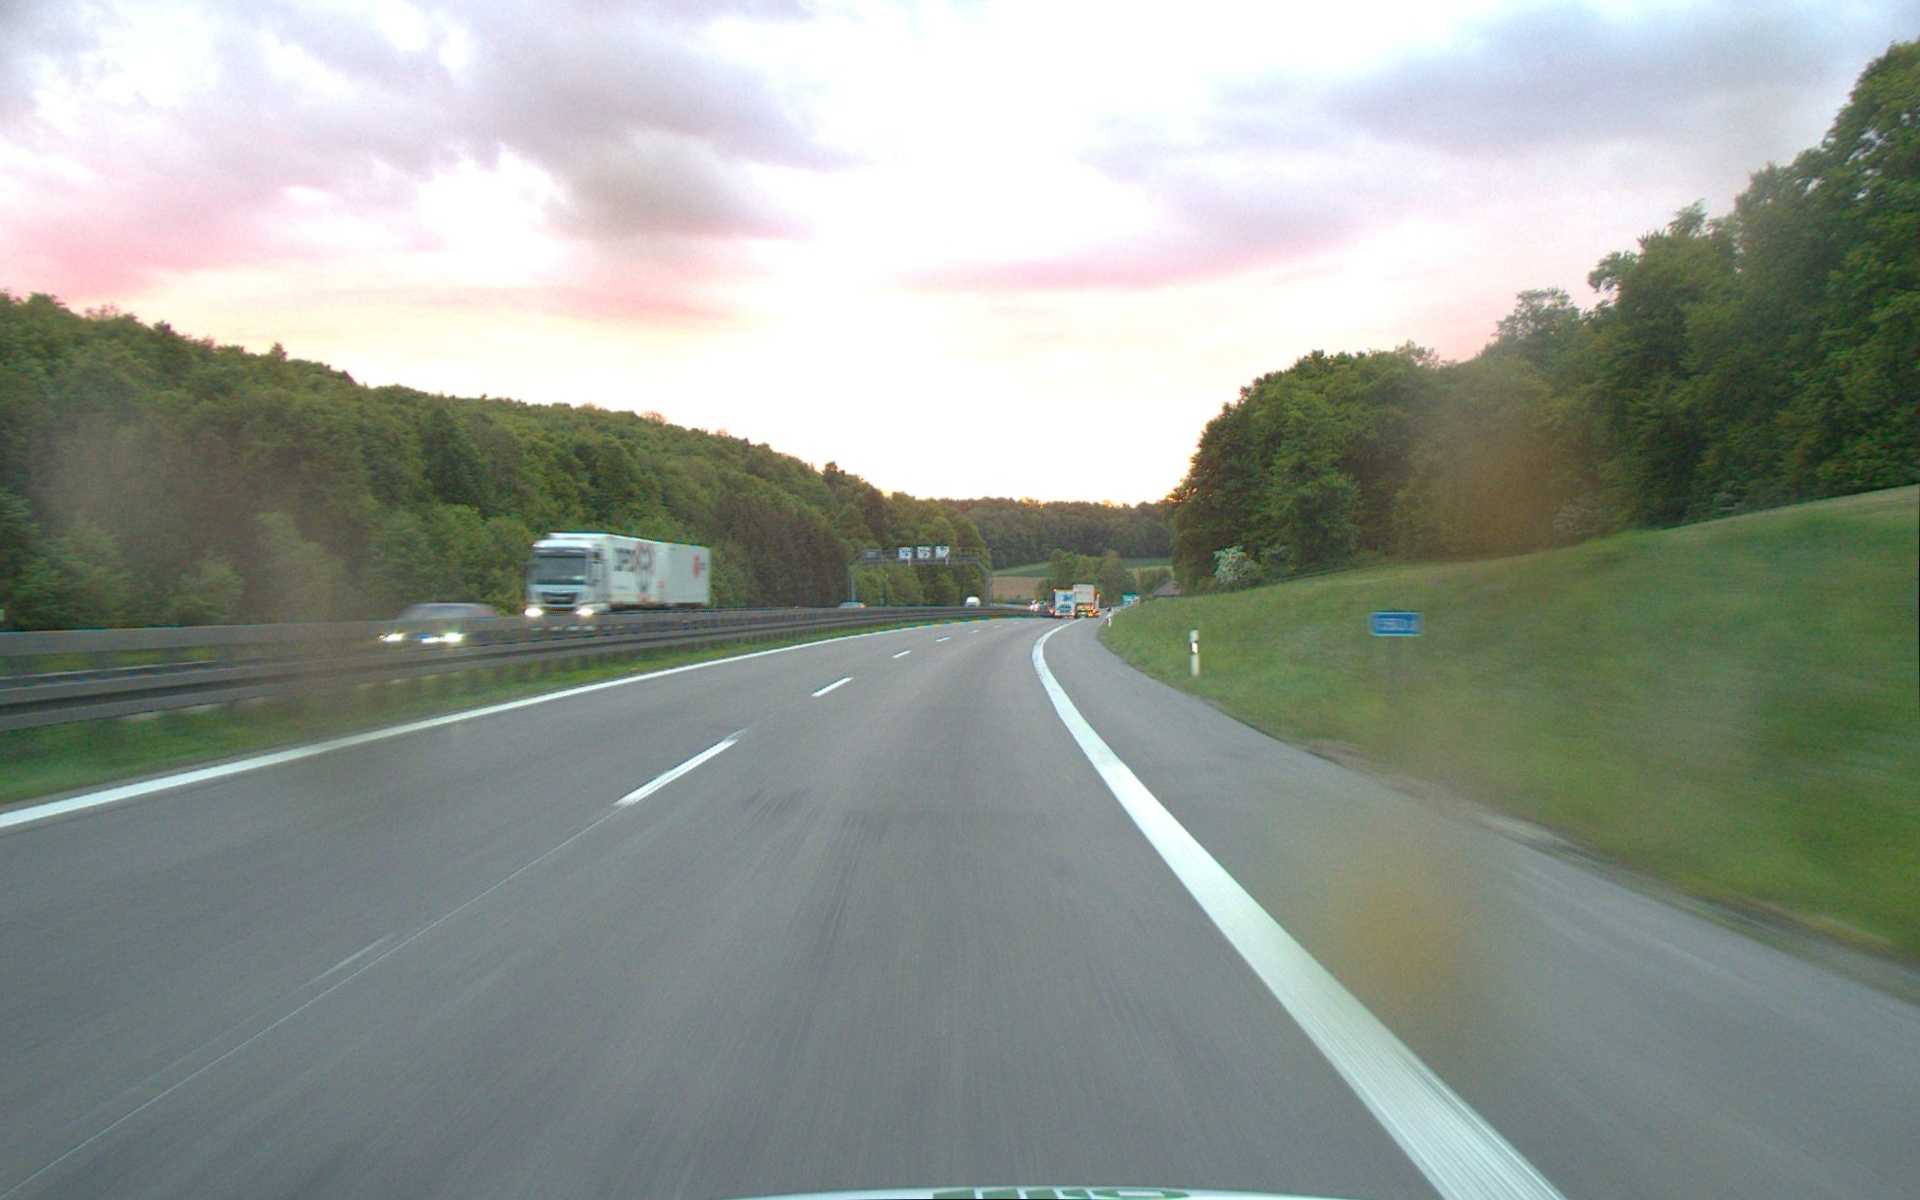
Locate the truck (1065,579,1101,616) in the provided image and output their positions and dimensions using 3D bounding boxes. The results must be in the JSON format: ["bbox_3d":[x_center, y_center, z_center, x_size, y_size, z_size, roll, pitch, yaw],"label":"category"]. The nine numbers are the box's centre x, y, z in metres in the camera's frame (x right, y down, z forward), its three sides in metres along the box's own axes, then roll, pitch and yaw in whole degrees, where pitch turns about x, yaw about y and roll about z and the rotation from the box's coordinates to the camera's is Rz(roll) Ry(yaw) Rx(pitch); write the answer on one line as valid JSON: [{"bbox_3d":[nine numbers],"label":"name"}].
[{"bbox_3d":[15.594,-0.350,209.146,3.874,4.361,14.334,-1,1,6],"label":"truck"}]

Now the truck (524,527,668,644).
[{"bbox_3d":[-14.506,-0.557,66.810,2.804,4.356,10.072,0,0,5],"label":"truck"}]

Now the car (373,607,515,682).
[{"bbox_3d":[-12.080,1.001,39.009,1.620,1.578,4.674,-2,0,3],"label":"car"}]

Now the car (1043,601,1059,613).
[{"bbox_3d":[12.237,0.952,221.782,1.951,1.543,4.002,-1,1,4],"label":"car"}]

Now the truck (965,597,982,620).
[{"bbox_3d":[1.875,1.222,232.199,1.951,3.121,5.598,0,0,5],"label":"truck"}]

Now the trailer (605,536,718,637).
[{"bbox_3d":[-13.670,-0.603,76.533,2.772,4.392,9.299,0,0,5],"label":"trailer"}]

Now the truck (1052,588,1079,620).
[{"bbox_3d":[9.904,0.328,154.993,2.228,2.711,5.241,-2,2,6],"label":"truck"}]
